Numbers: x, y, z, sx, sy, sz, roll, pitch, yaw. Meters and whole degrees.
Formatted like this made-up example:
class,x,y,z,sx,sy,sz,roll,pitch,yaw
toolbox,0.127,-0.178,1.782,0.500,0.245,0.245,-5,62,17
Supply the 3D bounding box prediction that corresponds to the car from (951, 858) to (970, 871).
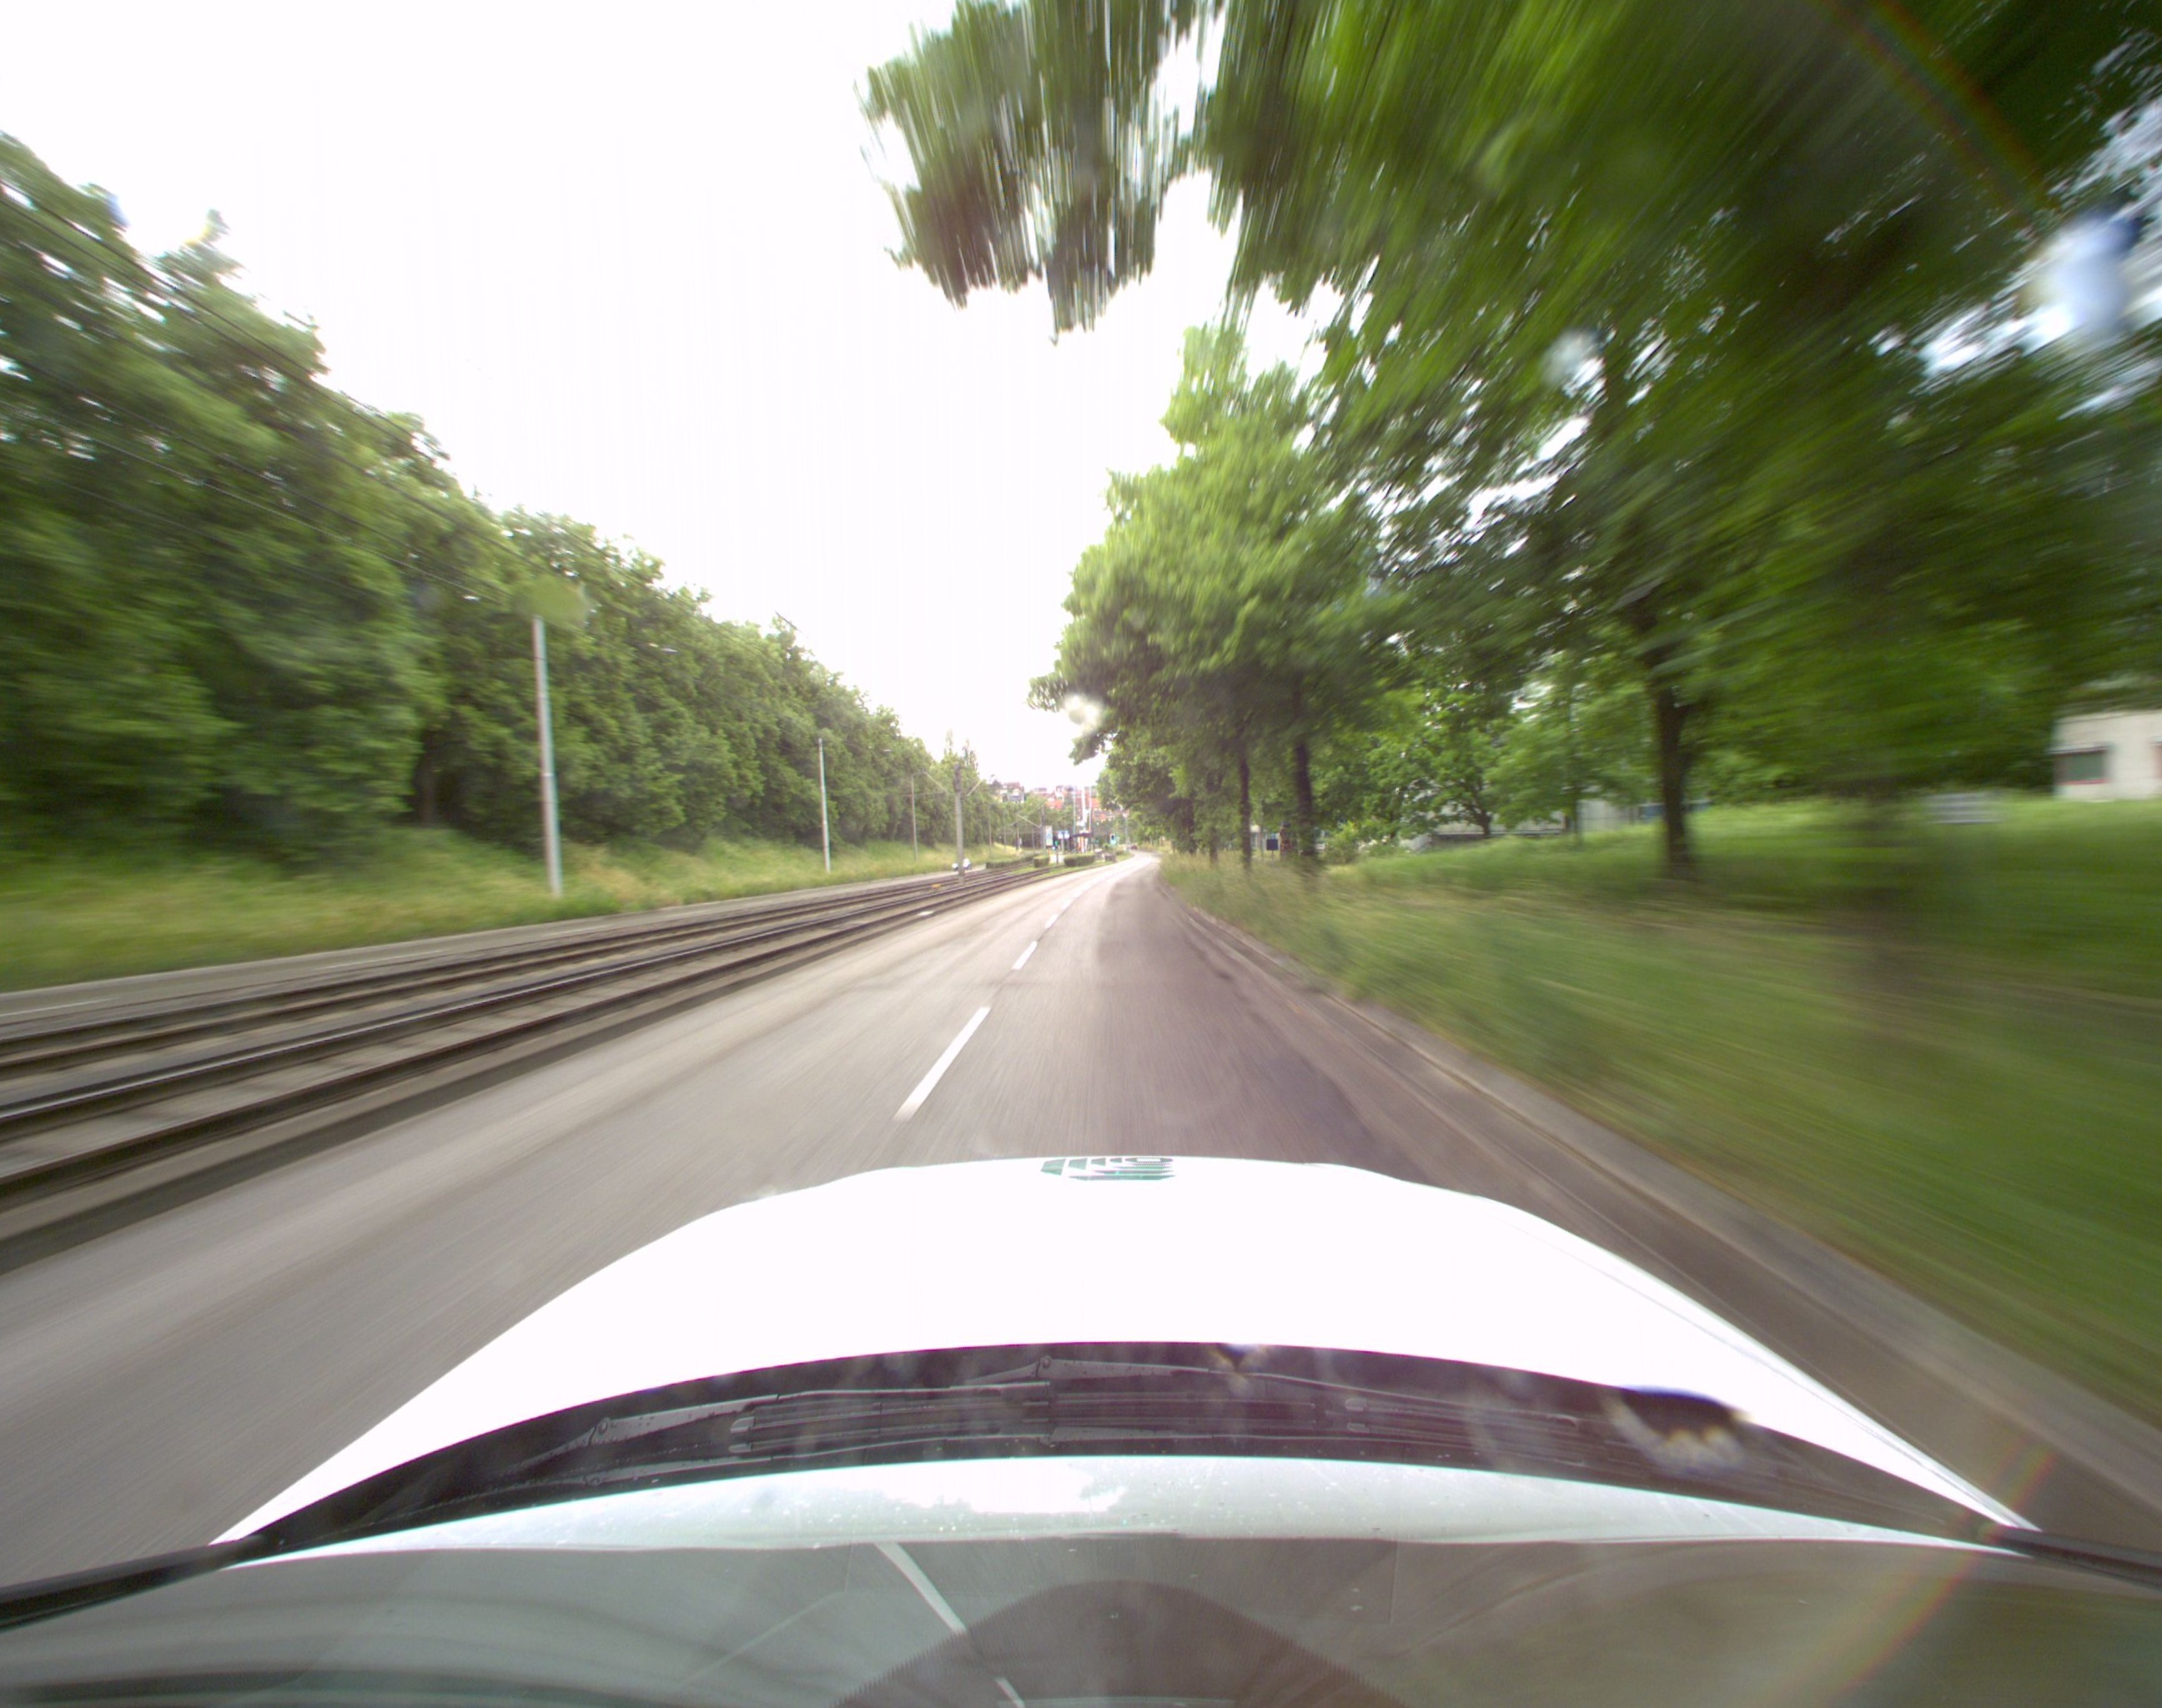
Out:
class,x,y,z,sx,sy,sz,roll,pitch,yaw
car,-14.950,1.293,101.189,1.779,1.552,3.960,-4,0,-1
